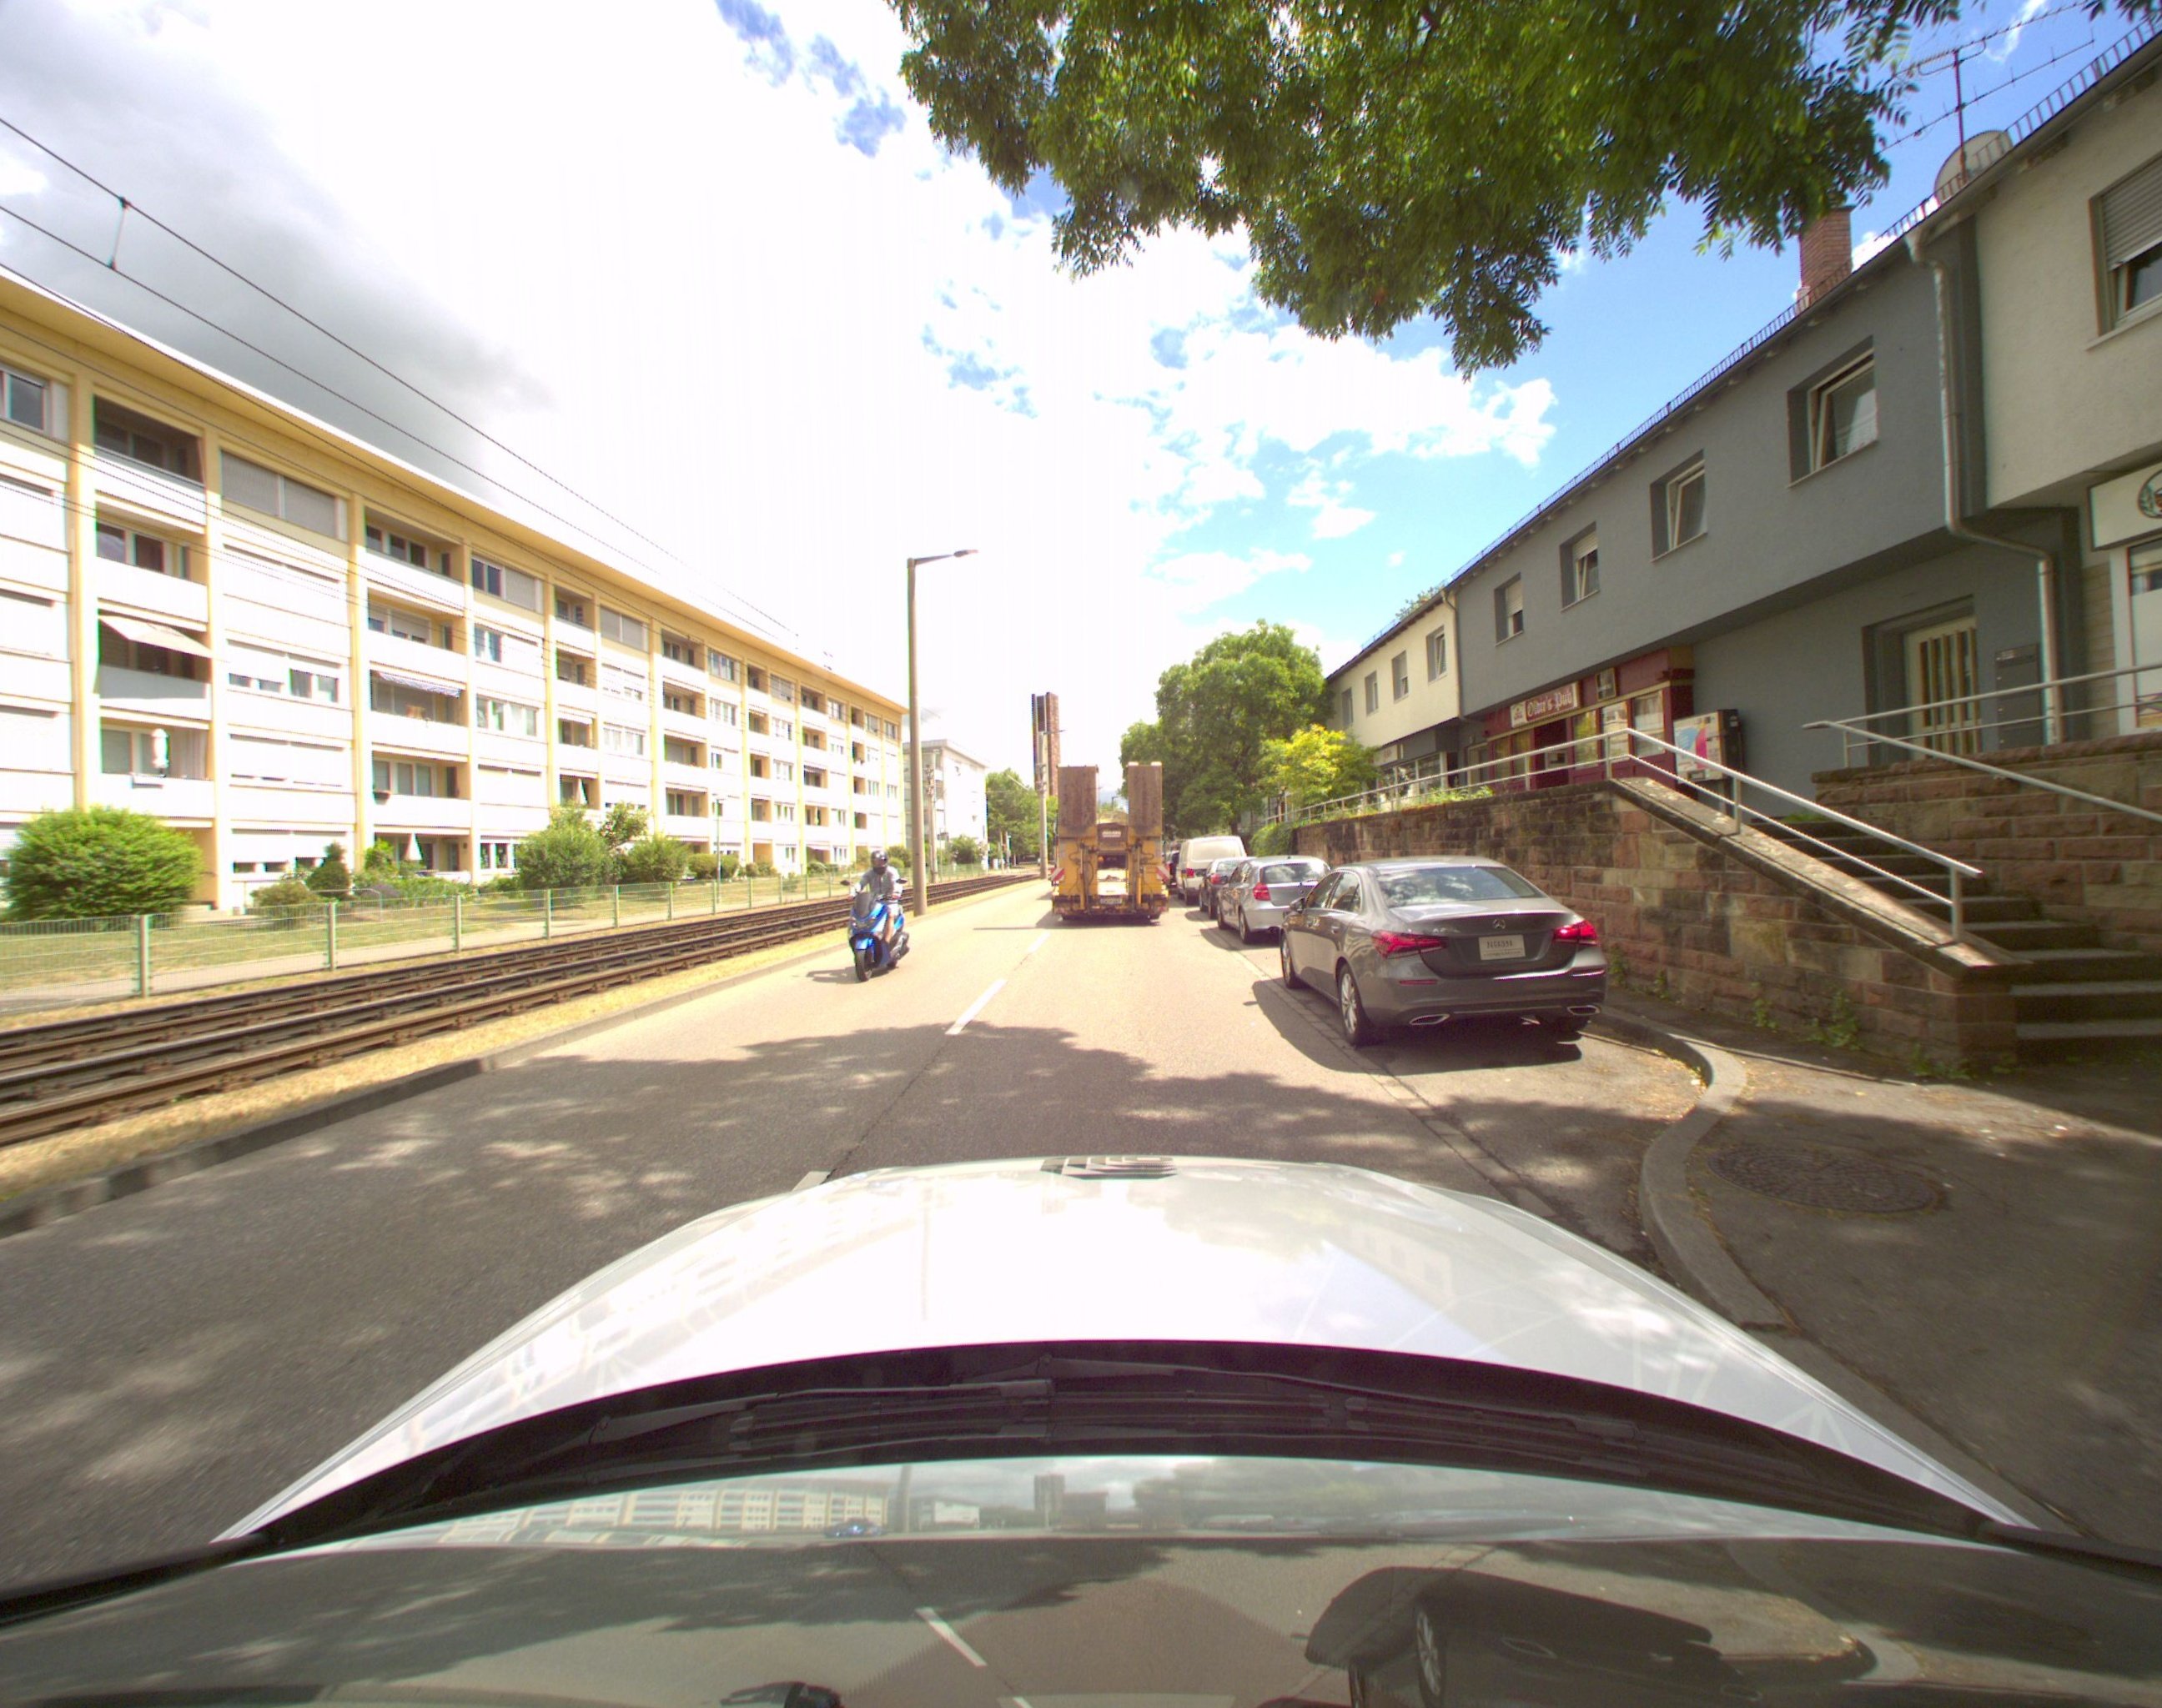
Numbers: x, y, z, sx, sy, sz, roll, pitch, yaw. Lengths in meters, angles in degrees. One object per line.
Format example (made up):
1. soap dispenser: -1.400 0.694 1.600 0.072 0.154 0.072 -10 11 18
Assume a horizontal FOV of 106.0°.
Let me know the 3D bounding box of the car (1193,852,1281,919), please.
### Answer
1. car: 3.739 0.699 20.047 1.614 1.405 3.653 -3 0 4

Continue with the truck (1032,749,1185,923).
1. truck: 0.732 -0.427 23.388 3.112 3.564 12.463 -2 0 1

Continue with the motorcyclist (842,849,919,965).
1. motorcyclist: -2.663 0.682 10.897 0.744 1.467 0.888 -2 0 2

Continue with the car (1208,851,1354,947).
1. car: 3.467 0.698 14.865 1.684 1.405 4.070 -3 0 1

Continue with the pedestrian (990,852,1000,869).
1. pedestrian: -10.285 0.739 97.194 0.952 2.013 1.174 -2 0 -12

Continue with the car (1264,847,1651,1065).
1. car: 3.040 0.679 7.738 1.828 1.405 4.418 -3 0 4

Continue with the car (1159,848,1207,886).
1. car: 4.629 0.546 37.367 1.792 1.623 4.294 -2 0 3

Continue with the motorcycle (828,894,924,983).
1. motorcycle: -2.662 1.070 10.777 0.744 0.954 1.833 -1 0 2

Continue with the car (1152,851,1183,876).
1. car: 5.894 0.620 55.639 1.792 1.623 4.294 -2 0 3

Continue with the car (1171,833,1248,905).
1. car: 3.921 0.403 25.463 1.792 1.968 4.593 -3 0 3
